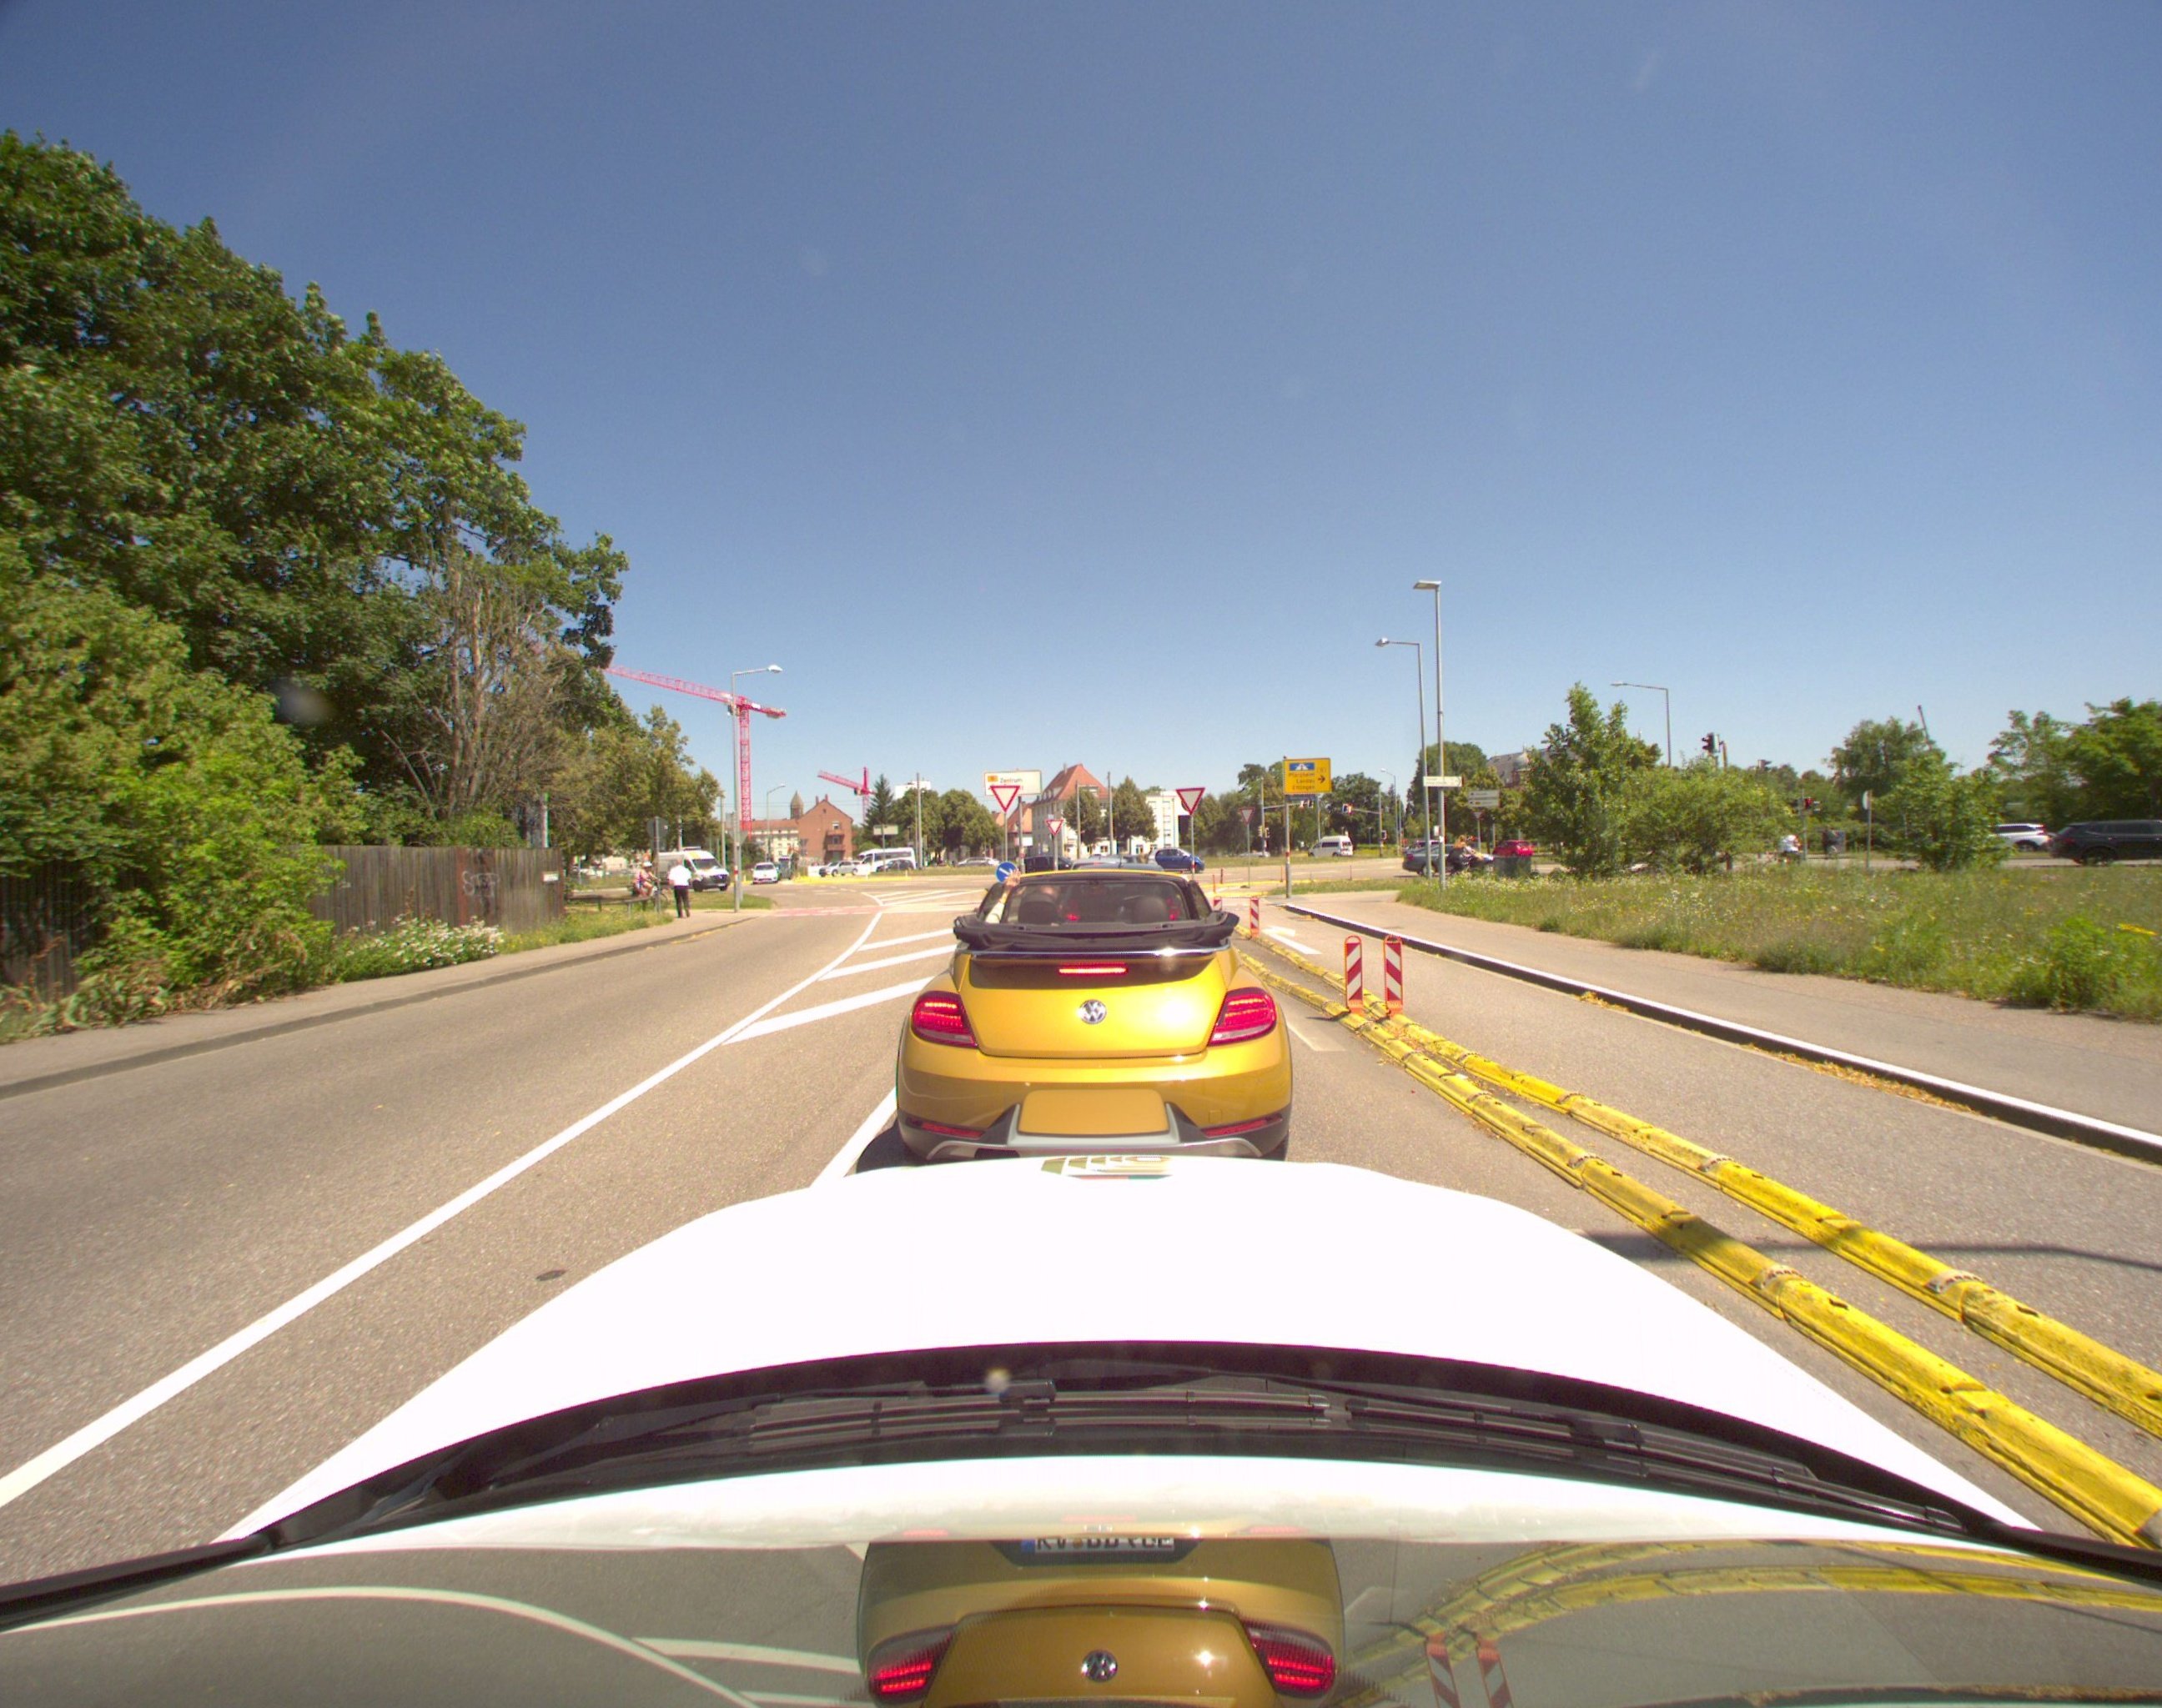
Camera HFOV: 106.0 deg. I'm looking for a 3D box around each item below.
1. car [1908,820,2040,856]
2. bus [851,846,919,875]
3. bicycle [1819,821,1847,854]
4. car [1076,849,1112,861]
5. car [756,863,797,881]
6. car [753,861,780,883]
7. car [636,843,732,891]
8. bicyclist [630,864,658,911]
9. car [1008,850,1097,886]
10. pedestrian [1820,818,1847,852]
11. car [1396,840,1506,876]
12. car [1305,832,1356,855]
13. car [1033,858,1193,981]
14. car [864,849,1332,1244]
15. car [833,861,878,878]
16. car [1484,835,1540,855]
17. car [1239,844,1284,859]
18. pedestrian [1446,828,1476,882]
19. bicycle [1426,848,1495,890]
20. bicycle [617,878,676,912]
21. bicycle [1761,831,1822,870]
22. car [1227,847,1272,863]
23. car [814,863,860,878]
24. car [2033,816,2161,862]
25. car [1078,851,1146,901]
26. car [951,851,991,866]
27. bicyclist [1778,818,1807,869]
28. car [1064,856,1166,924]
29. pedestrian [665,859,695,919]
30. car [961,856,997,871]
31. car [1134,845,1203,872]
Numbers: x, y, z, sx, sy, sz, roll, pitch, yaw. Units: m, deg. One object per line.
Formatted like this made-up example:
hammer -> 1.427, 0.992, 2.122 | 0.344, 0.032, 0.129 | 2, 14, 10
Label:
car -> 45.614, -0.779, 41.759 | 4.389, 1.736, 1.860 | -1, -1, 43
bus -> -22.634, 0.733, 94.226 | 7.308, 3.172, 2.236 | 0, -1, -36
bicycle -> 38.006, -0.811, 41.143 | 0.972, 1.597, 2.900 | -1, -1, 43
car -> 1.584, 0.121, 100.581 | 4.303, 1.371, 1.752 | 0, -1, -1
car -> -25.122, 1.484, 67.334 | 1.740, 1.371, 4.332 | 0, -1, 1
car -> -23.549, 1.343, 60.901 | 1.783, 1.527, 3.843 | -2, 0, -23
car -> -25.035, 0.808, 51.297 | 6.796, 2.828, 2.012 | -1, -1, 30
bicyclist -> -16.462, 1.255, 30.708 | 0.664, 1.753, 0.595 | -3, -1, 20
car -> -1.373, 0.686, 39.847 | 3.956, 1.551, 1.736 | -2, 2, 17
pedestrian -> 37.907, -0.939, 41.034 | 0.959, 1.660, 0.892 | -1, -1, 44
car -> 16.808, 0.186, 37.155 | 4.302, 1.552, 1.733 | -1, -1, 10
car -> 26.909, -1.074, 87.857 | 2.000, 2.397, 5.276 | 0, -1, -31
car -> 0.449, 0.781, 11.784 | 1.844, 1.366, 4.260 | -2, 0, 2
car -> 0.127, 0.746, 5.210 | 1.758, 1.481, 4.259 | 0, -1, 2
car -> -24.626, 1.689, 89.080 | 4.456, 1.736, 1.831 | 0, -1, -29
car -> 36.926, -0.721, 69.848 | 1.896, 1.654, 4.328 | 0, -1, -12
car -> 23.125, -0.310, 104.617 | 5.260, 1.962, 2.006 | -1, -1, 29
pedestrian -> 12.080, 0.031, 25.891 | 0.728, 1.691, 0.577 | -1, -1, 11
bicycle -> 12.035, 0.486, 25.886 | 1.830, 1.231, 0.615 | -3, -1, 12
bicycle -> -16.368, 1.543, 30.673 | 2.075, 1.221, 0.637 | -2, 0, 18
bicycle -> 25.816, -0.120, 29.570 | 2.902, 1.353, 0.635 | 0, -1, -28
car -> 21.789, 0.173, 105.441 | 5.259, 1.962, 2.007 | -1, -1, 37
car -> -23.533, 1.568, 78.822 | 1.711, 1.402, 4.297 | -1, -1, 28
car -> 38.134, -0.558, 29.629 | 2.012, 1.595, 4.364 | -2, 0, -45
car -> 1.042, 0.678, 27.684 | 2.057, 1.481, 4.545 | -2, 0, 2
car -> -13.039, 0.509, 96.869 | 4.465, 1.736, 1.828 | 0, -1, -38
bicyclist -> 25.763, -0.372, 29.497 | 0.573, 1.841, 0.603 | 0, -1, -29
car -> 0.754, 0.748, 18.678 | 2.057, 1.382, 4.259 | 0, -1, 2
pedestrian -> -12.332, 1.054, 25.013 | 0.641, 1.786, 0.958 | 0, -1, -39
car -> -12.585, 1.194, 100.729 | 4.015, 1.772, 1.768 | 0, -1, -33
car -> 5.168, 0.258, 47.828 | 3.964, 1.552, 1.732 | 0, -1, 8
